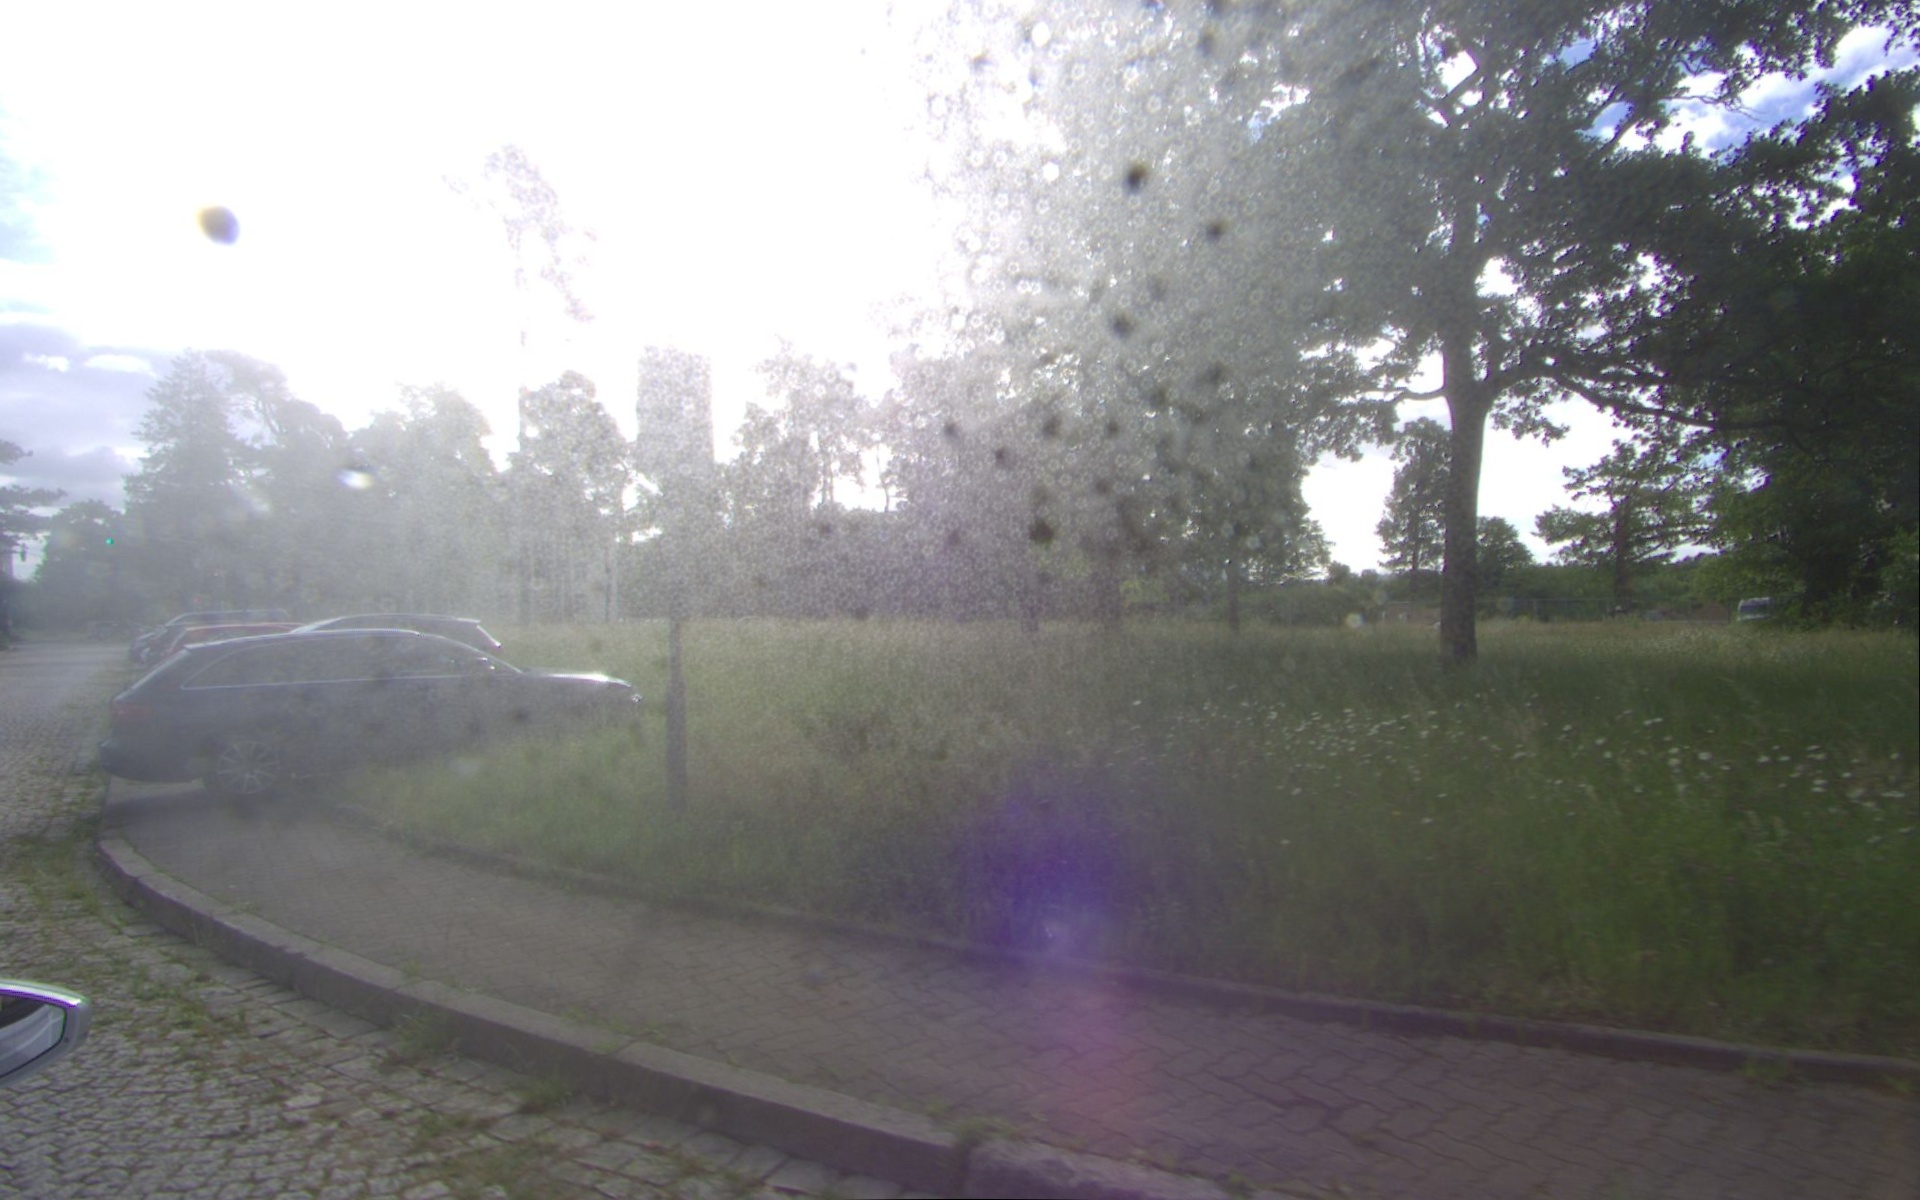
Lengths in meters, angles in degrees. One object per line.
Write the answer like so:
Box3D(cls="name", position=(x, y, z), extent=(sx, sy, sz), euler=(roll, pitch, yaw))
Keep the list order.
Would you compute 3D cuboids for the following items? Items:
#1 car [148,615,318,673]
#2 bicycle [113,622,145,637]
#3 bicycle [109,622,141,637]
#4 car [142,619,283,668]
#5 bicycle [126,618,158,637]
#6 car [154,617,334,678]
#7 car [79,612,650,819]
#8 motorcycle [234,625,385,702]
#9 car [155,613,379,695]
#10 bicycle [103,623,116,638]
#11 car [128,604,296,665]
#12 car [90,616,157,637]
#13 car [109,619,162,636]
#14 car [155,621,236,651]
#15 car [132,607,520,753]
Box3D(cls="car", position=(-21.354, 1.236, 29.494), extent=(3.921, 1.601, 1.746), euler=(0, -1, -41))
Box3D(cls="bicycle", position=(-74.914, 2.630, 90.240), extent=(0.804, 1.285, 2.148), euler=(0, -1, 44))
Box3D(cls="bicycle", position=(-76.235, 2.676, 91.461), extent=(0.804, 1.285, 2.148), euler=(0, -1, 44))
Box3D(cls="car", position=(-25.515, 1.438, 34.246), extent=(3.695, 1.443, 1.639), euler=(-2, 1, -42))
Box3D(cls="bicycle", position=(-75.021, 2.512, 91.829), extent=(0.804, 1.637, 2.148), euler=(0, 0, 44))
Box3D(cls="car", position=(-19.692, 1.256, 27.615), extent=(3.955, 1.538, 1.724), euler=(0, 0, -40))
Box3D(cls="car", position=(-5.605, 0.929, 9.920), extent=(4.462, 1.484, 1.882), euler=(-2, 1, -36))
Box3D(cls="motorcycle", position=(-11.958, 1.129, 18.478), extent=(2.250, 1.292, 0.600), euler=(-1, 0, -45))
Box3D(cls="car", position=(-14.878, 1.089, 21.603), extent=(3.809, 1.525, 1.723), euler=(-1, 0, -41))
Box3D(cls="bicycle", position=(-73.517, 2.596, 86.548), extent=(0.803, 1.285, 1.957), euler=(0, -1, -38))
Box3D(cls="car", position=(-26.993, 1.193, 36.229), extent=(4.747, 2.066, 1.722), euler=(0, 0, -42))
Box3D(cls="car", position=(-86.501, 2.713, 103.592), extent=(1.976, 2.040, 5.028), euler=(-1, -1, 40))
Box3D(cls="car", position=(-83.715, 2.779, 101.686), extent=(1.979, 1.665, 3.963), euler=(-1, -1, 44))
Box3D(cls="car", position=(-41.734, 1.933, 54.676), extent=(1.377, 1.564, 3.368), euler=(0, 0, 45))
Box3D(cls="car", position=(-8.514, 0.937, 13.653), extent=(4.228, 1.594, 1.879), euler=(-1, 1, -40))
